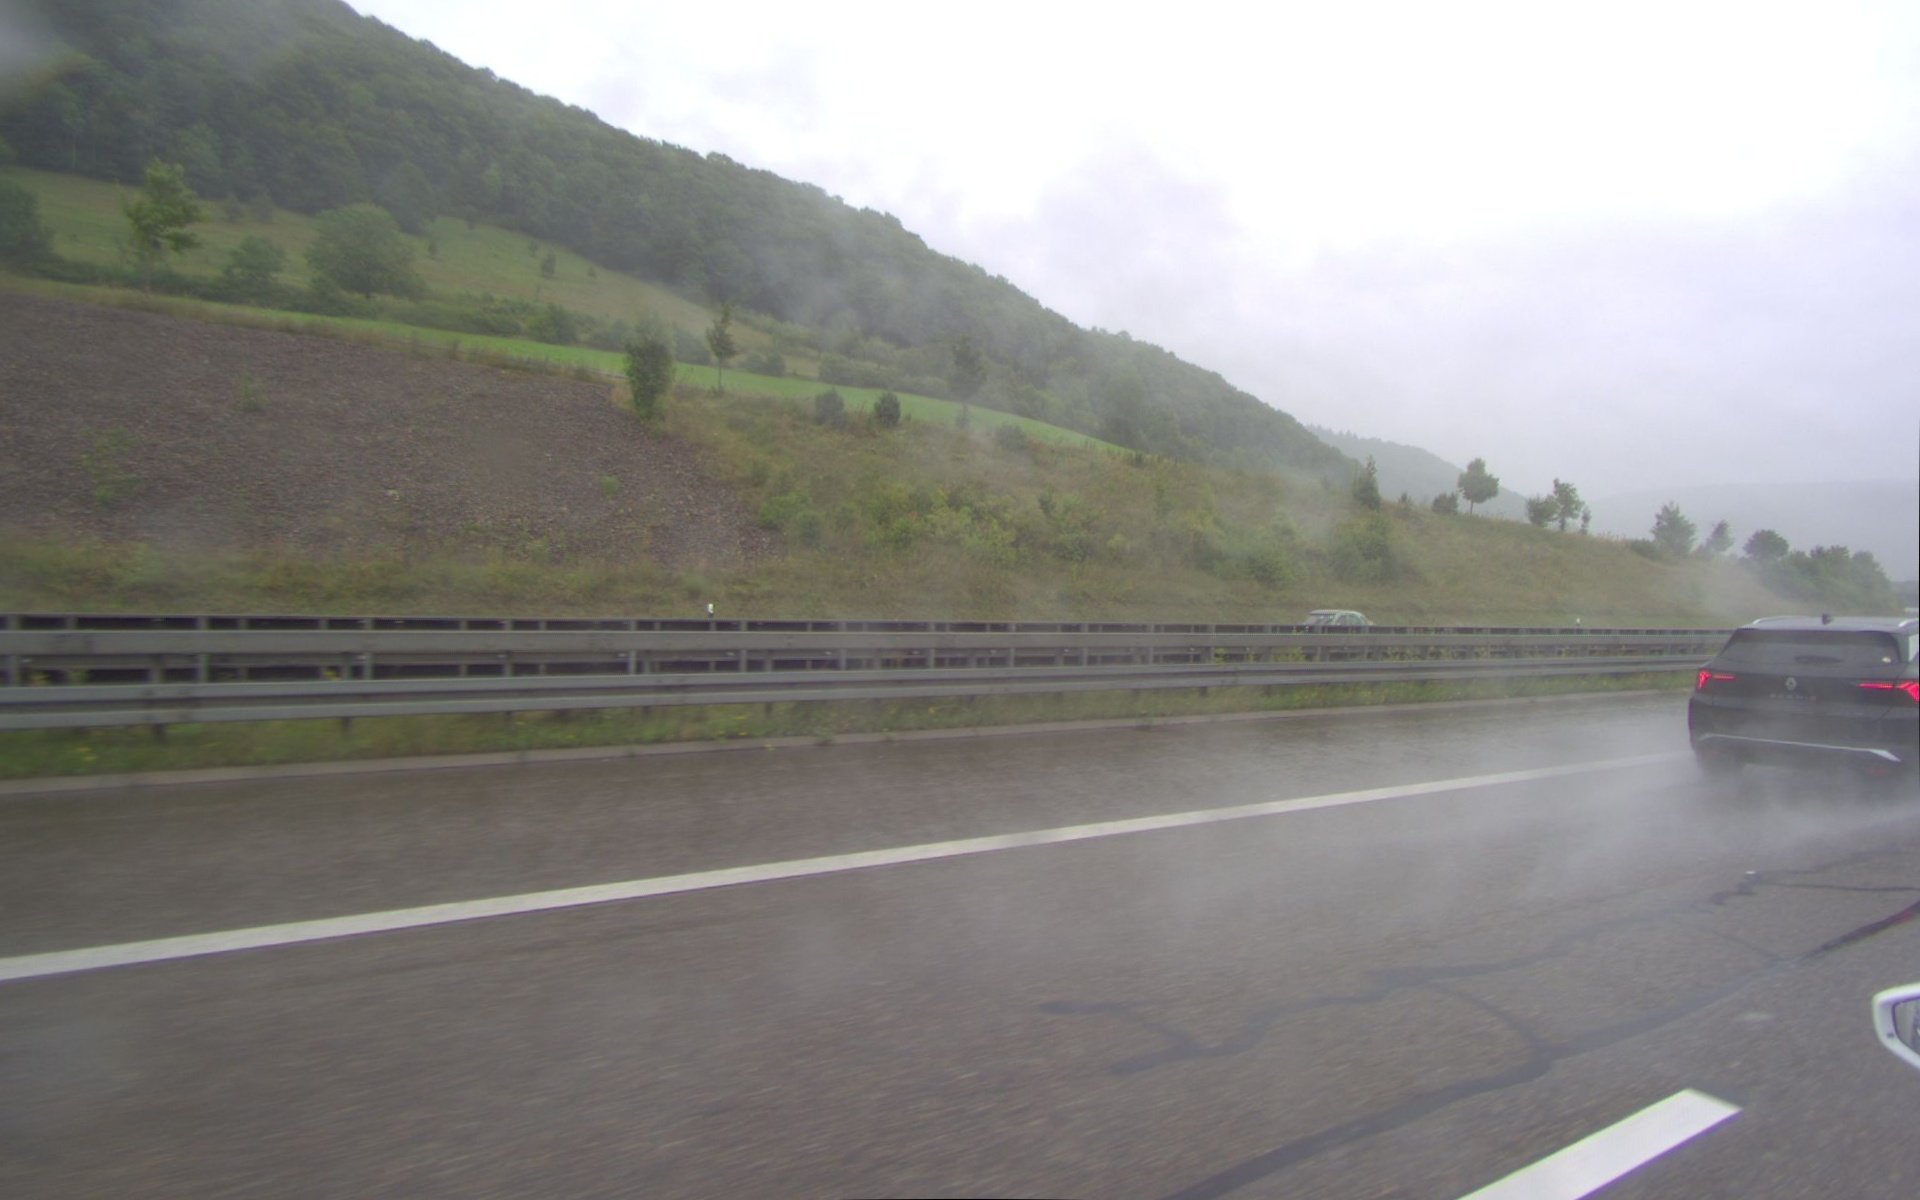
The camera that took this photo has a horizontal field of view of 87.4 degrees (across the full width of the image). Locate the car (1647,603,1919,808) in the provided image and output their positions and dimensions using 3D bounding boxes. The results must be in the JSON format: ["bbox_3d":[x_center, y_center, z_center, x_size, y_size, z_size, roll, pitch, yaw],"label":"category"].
[{"bbox_3d":[9.019,0.883,9.757,4.738,1.536,2.389,1,1,-36],"label":"car"}]

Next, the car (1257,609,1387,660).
[{"bbox_3d":[11.075,1.024,30.693,3.733,1.439,1.784,1,0,-32],"label":"car"}]
